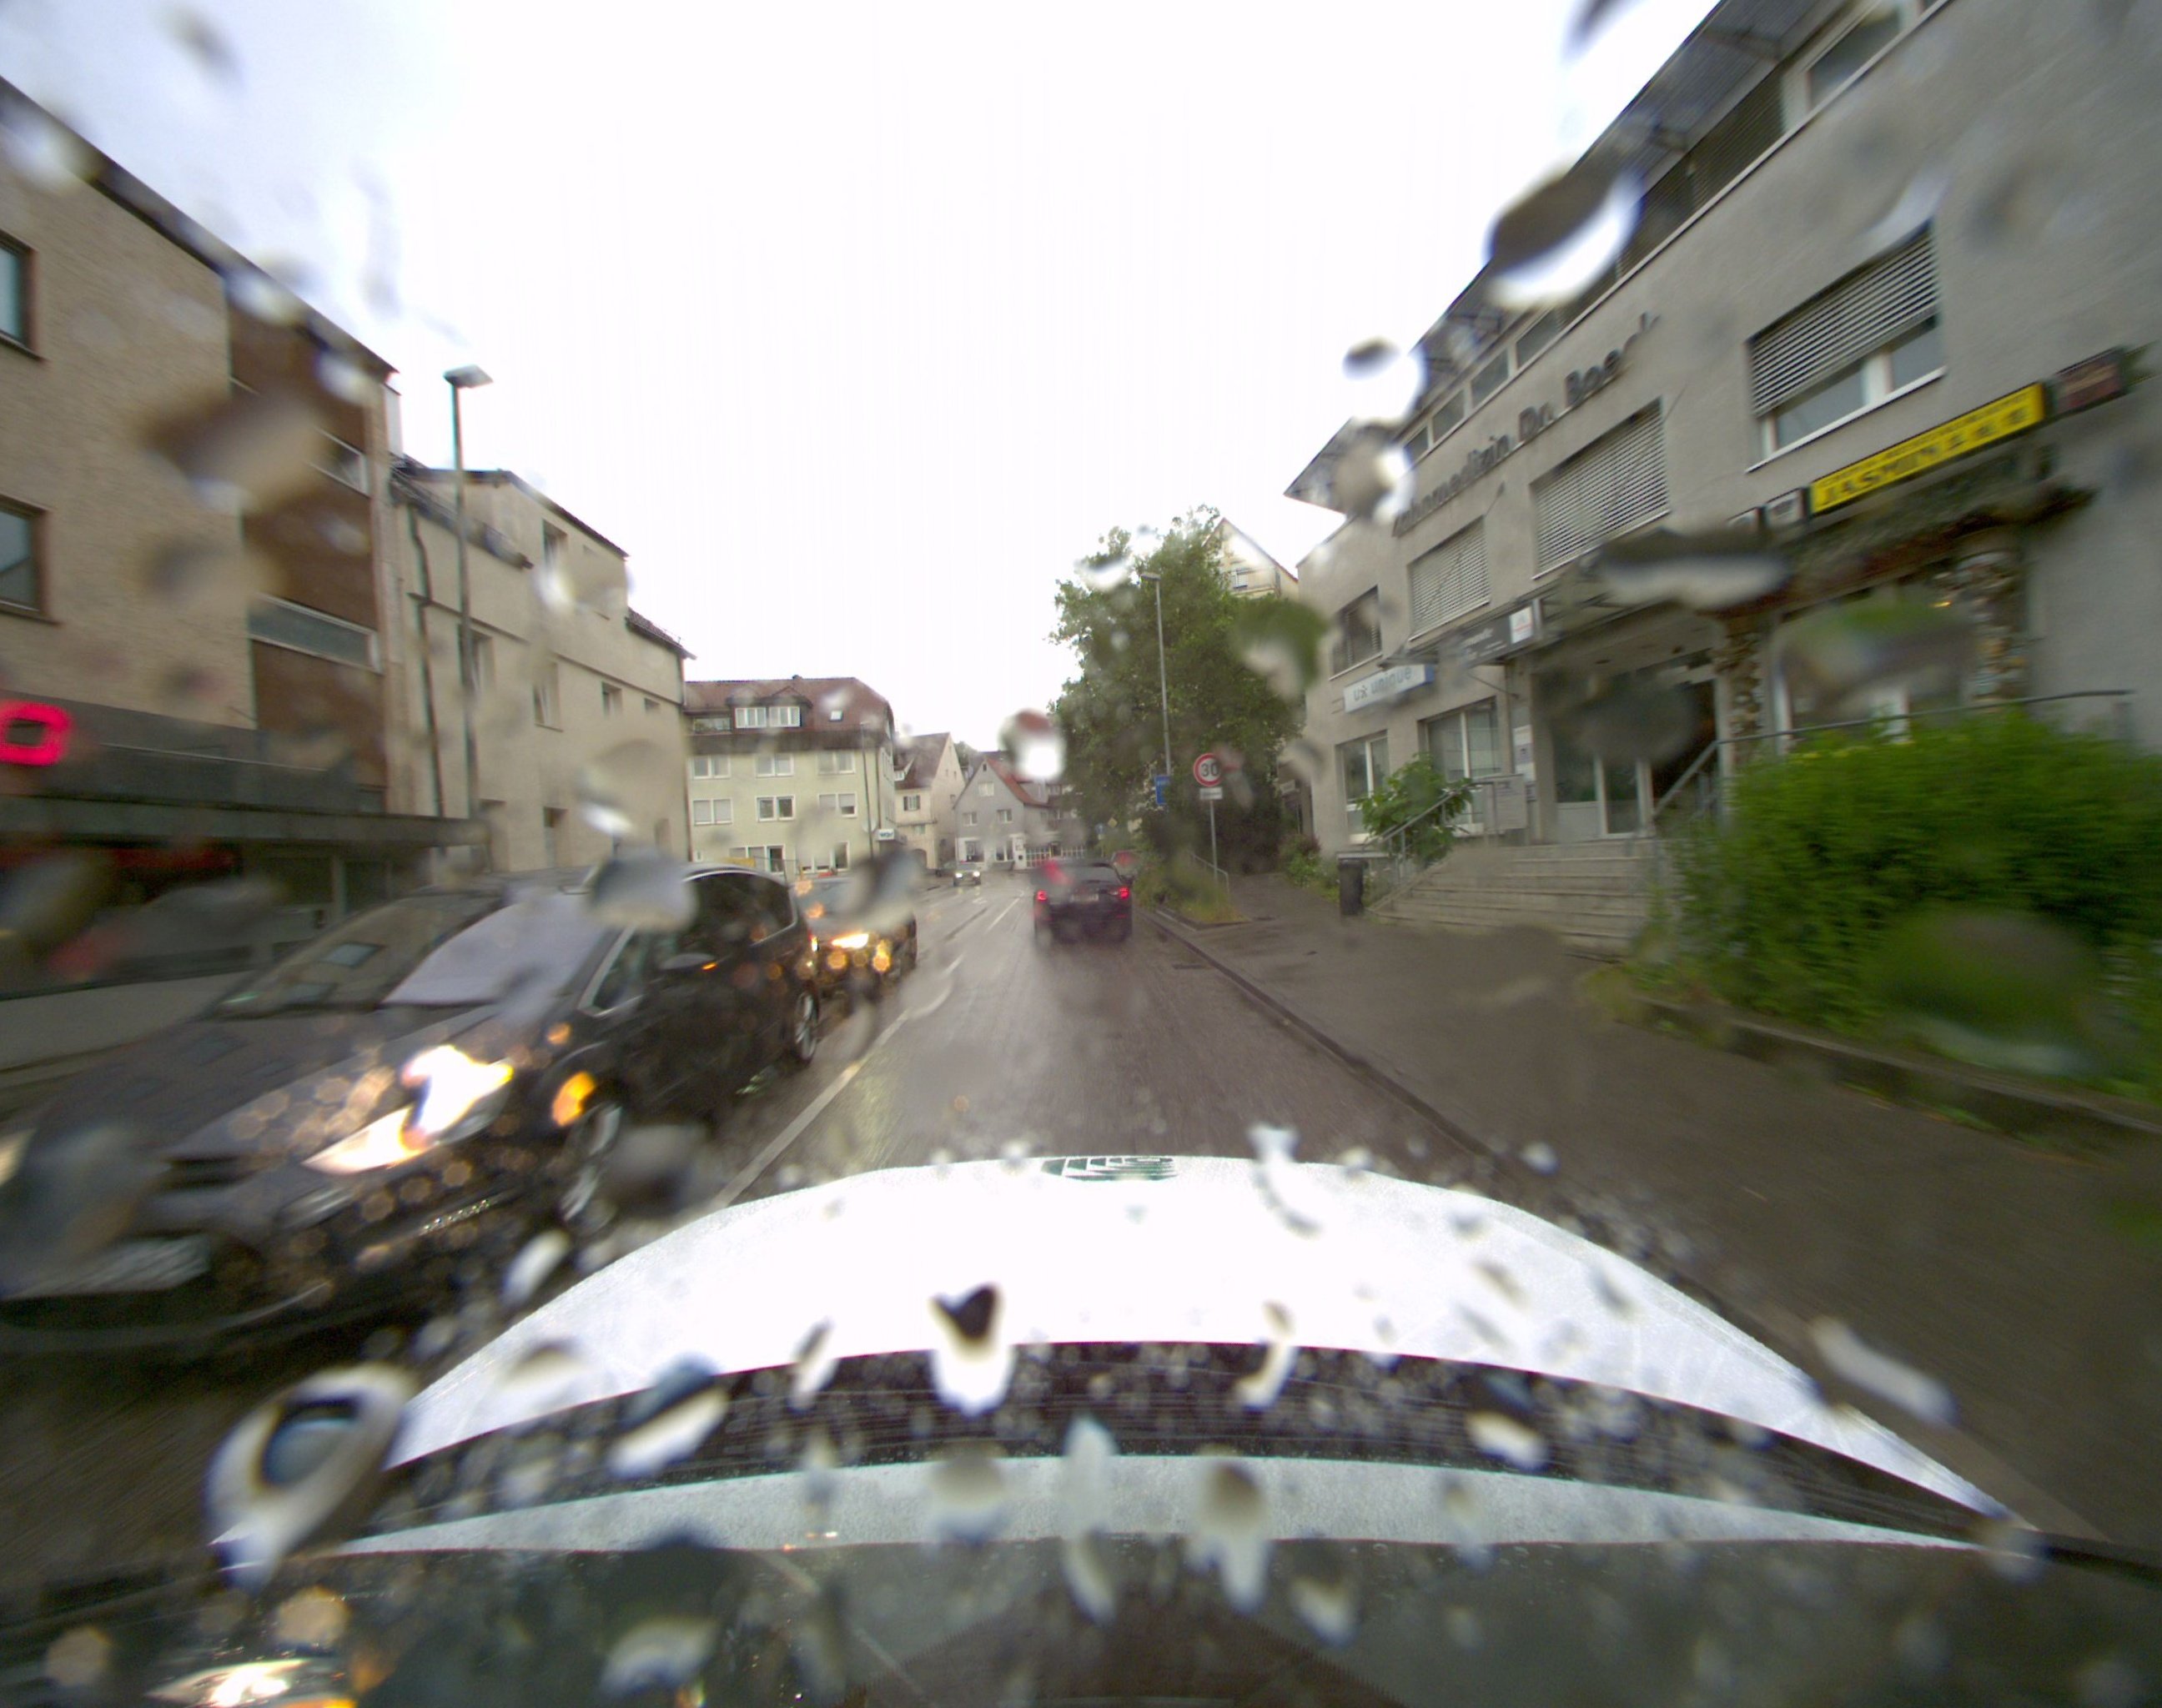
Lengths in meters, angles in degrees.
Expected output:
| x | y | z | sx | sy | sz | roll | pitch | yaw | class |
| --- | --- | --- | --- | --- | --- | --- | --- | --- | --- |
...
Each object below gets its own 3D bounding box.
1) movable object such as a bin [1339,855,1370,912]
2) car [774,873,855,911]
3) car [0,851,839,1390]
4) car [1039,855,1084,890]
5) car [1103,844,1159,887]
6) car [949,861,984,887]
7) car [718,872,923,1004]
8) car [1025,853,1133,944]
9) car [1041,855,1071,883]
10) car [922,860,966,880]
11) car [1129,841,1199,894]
| x | y | z | sx | sy | sz | roll | pitch | yaw | class |
| --- | --- | --- | --- | --- | --- | --- | --- | --- | --- |
| 4.833 | 0.513 | 14.412 | 0.507 | 0.945 | 0.605 | 0 | 4 | 16 | movable object such as a bin |
| -14.916 | 2.113 | 45.800 | 4.015 | 1.386 | 1.786 | -9 | 3 | -14 | car |
| -2.889 | 0.825 | 4.683 | 1.780 | 1.563 | 4.398 | -2 | 0 | -2 | car |
| -0.860 | 0.793 | 36.247 | 1.813 | 1.359 | 3.987 | -3 | -1 | -1 | car |
| 2.132 | 0.515 | 35.572 | 1.849 | 1.641 | 3.865 | -4 | 0 | -4 | car |
| -7.806 | 1.366 | 55.279 | 1.663 | 1.571 | 3.976 | -3 | -1 | -17 | car |
| -3.304 | 0.985 | 11.106 | 1.612 | 1.334 | 3.949 | -2 | 0 | -2 | car |
| -0.019 | 0.776 | 15.992 | 1.776 | 1.483 | 4.245 | -2 | -1 | 0 | car |
| -1.614 | 0.989 | 52.932 | 1.722 | 1.591 | 4.183 | -2 | -3 | 0 | car |
| -13.087 | 1.554 | 77.973 | 3.642 | 1.590 | 1.910 | -5 | -2 | 27 | car |
| 2.953 | 0.483 | 29.639 | 1.849 | 1.641 | 3.533 | -4 | -1 | -4 | car |
